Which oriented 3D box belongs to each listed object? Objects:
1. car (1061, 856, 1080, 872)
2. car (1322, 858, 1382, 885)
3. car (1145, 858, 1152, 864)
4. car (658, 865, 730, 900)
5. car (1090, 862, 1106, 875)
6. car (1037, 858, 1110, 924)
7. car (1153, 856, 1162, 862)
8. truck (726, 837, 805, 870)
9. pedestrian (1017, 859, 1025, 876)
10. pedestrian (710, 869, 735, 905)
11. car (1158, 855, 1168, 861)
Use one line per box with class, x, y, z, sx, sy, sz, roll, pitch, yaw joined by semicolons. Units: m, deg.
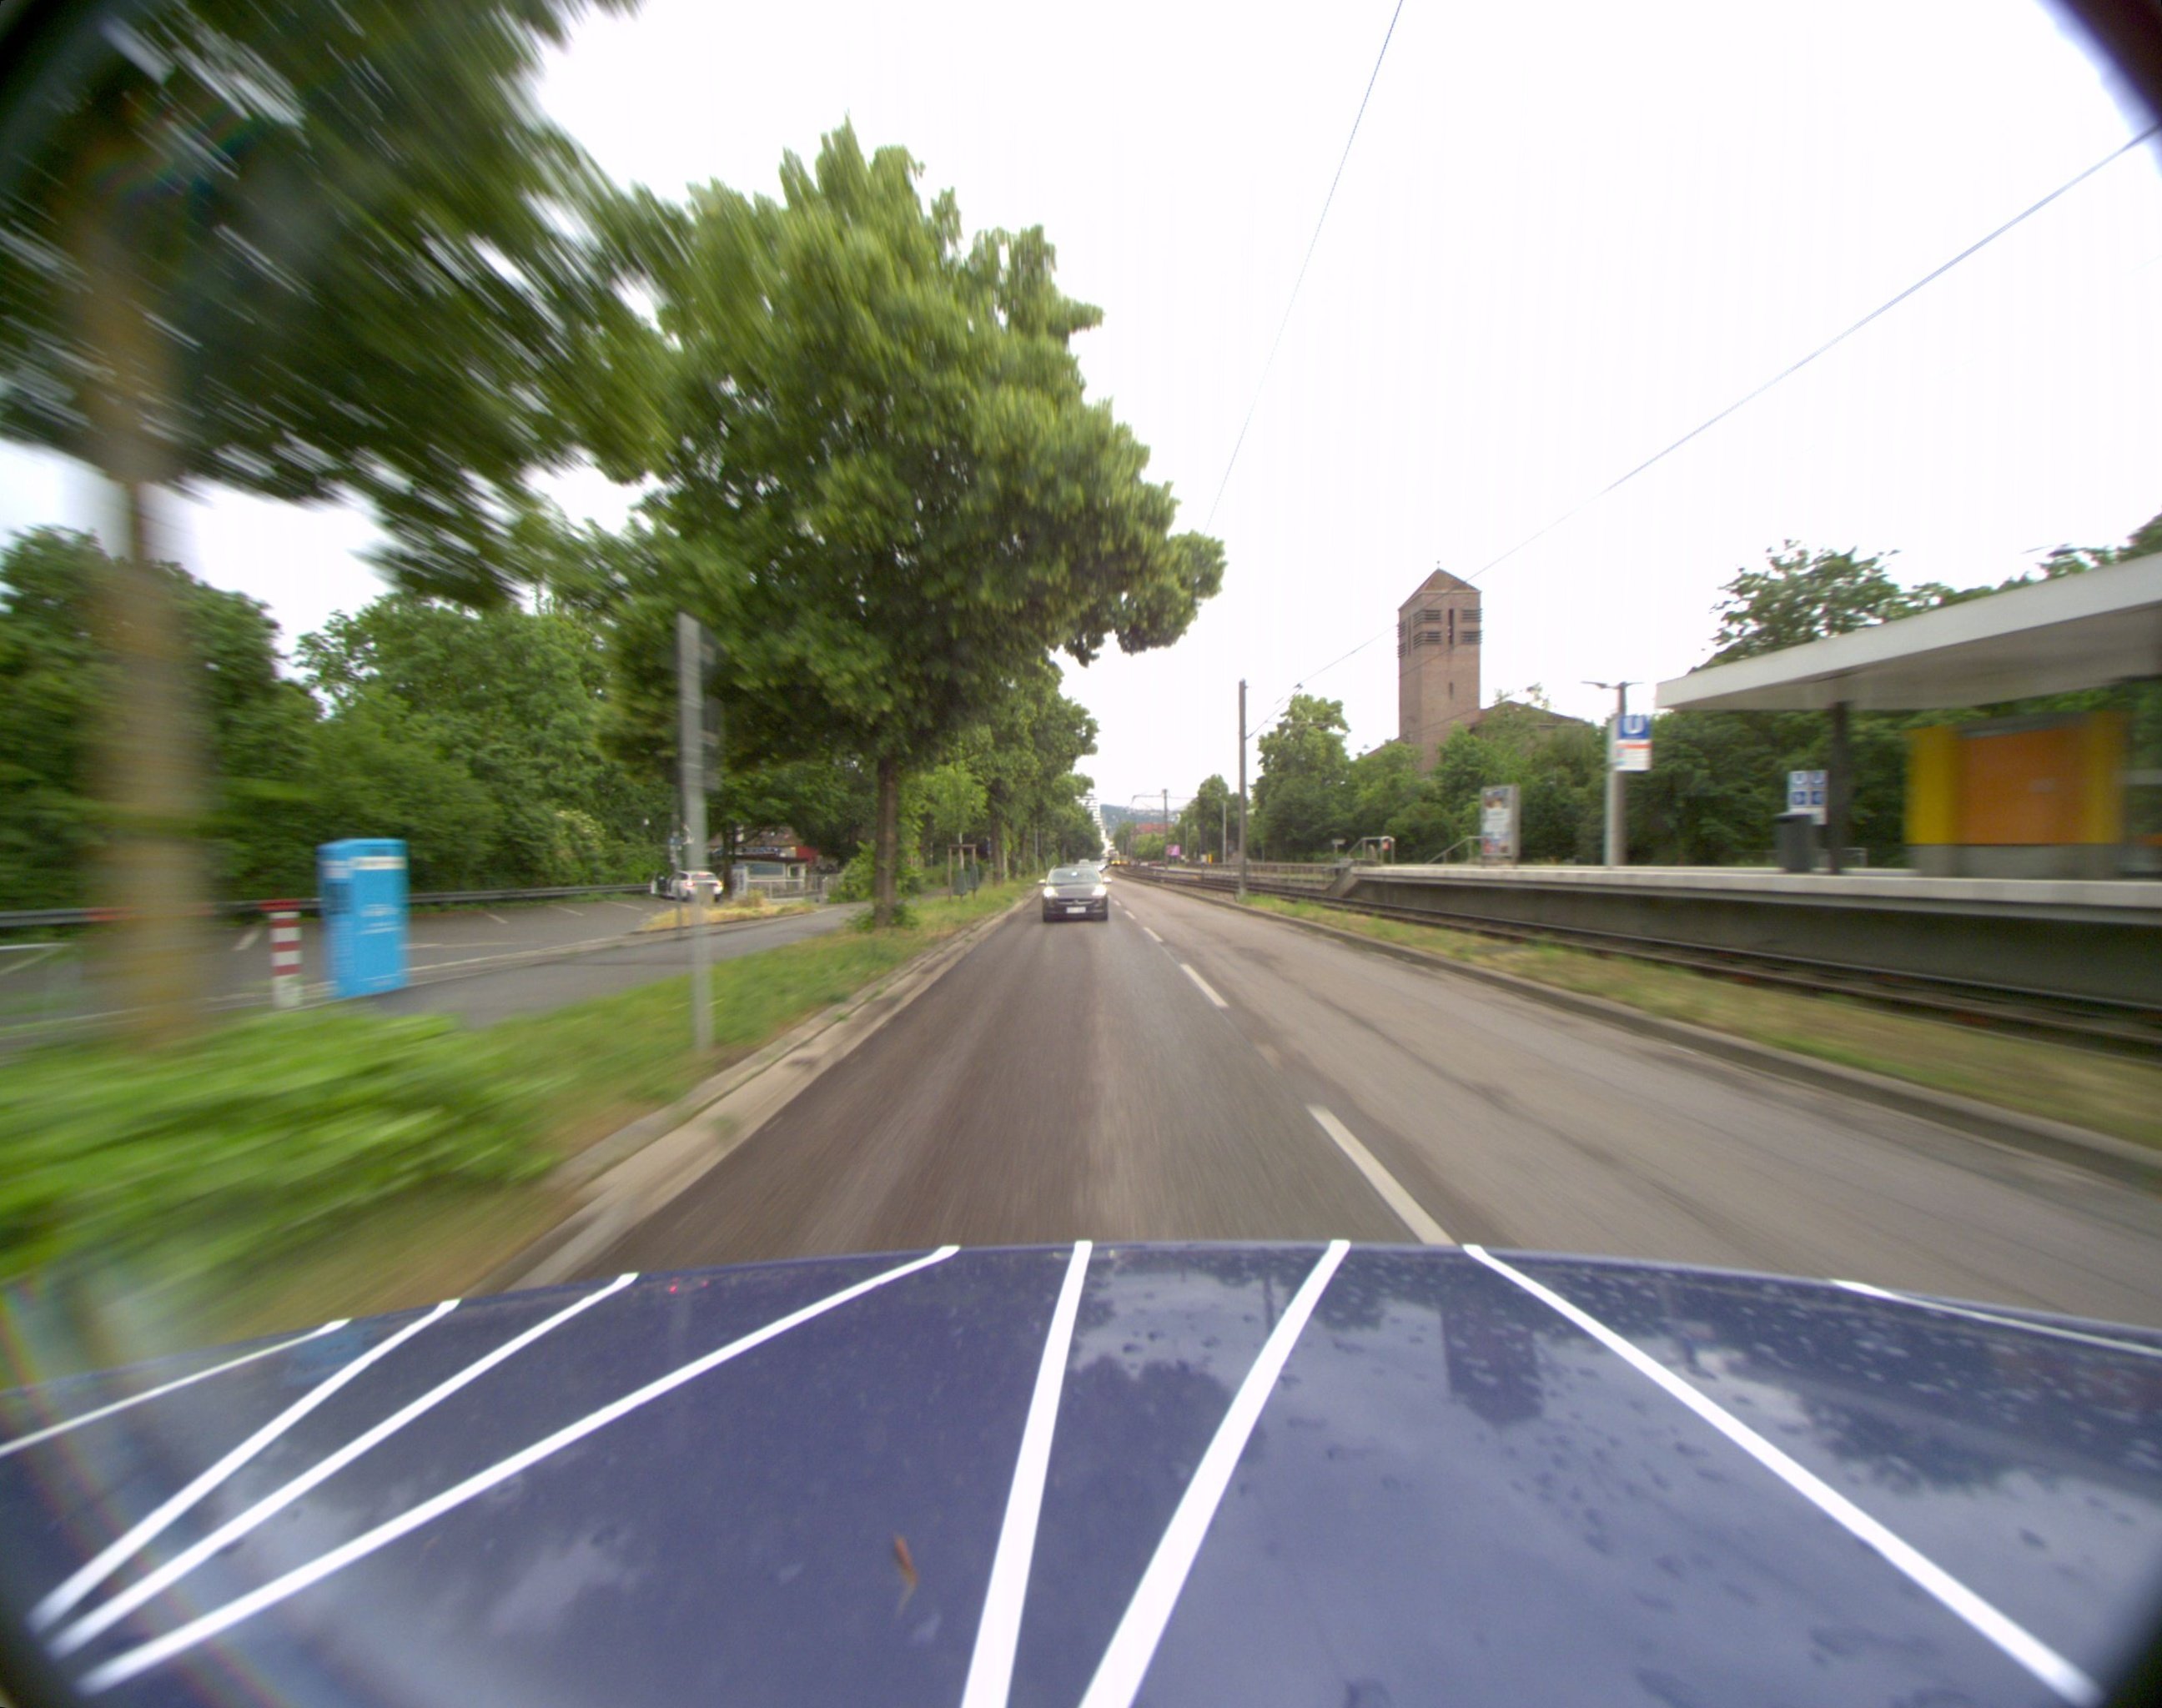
car;-1.015;0.971;74.098;1.769;1.502;4.340;-1;0;-1
car;17.357;1.072;48.912;1.999;1.614;4.516;-1;0;-4
car;20.196;2.005;227.157;1.998;1.634;4.412;1;0;1
car;-18.952;1.345;37.080;2.004;1.570;4.637;-1;0;-42
car;2.085;1.724;92.353;1.768;1.502;4.342;-1;0;5
car;-0.175;0.932;21.095;1.746;1.544;4.493;-2;0;0
car;21.427;1.413;212.348;1.998;1.634;4.525;1;0;1
truck;-28.276;-0.057;68.422;2.054;2.851;6.618;-1;0;31
pedestrian;-6.763;1.520;85.666;0.857;1.843;0.737;0;0;3
pedestrian;-18.107;1.667;38.383;0.898;1.760;0.941;0;1;-42
car;20.153;0.904;186.226;1.970;1.433;4.321;0;0;0
